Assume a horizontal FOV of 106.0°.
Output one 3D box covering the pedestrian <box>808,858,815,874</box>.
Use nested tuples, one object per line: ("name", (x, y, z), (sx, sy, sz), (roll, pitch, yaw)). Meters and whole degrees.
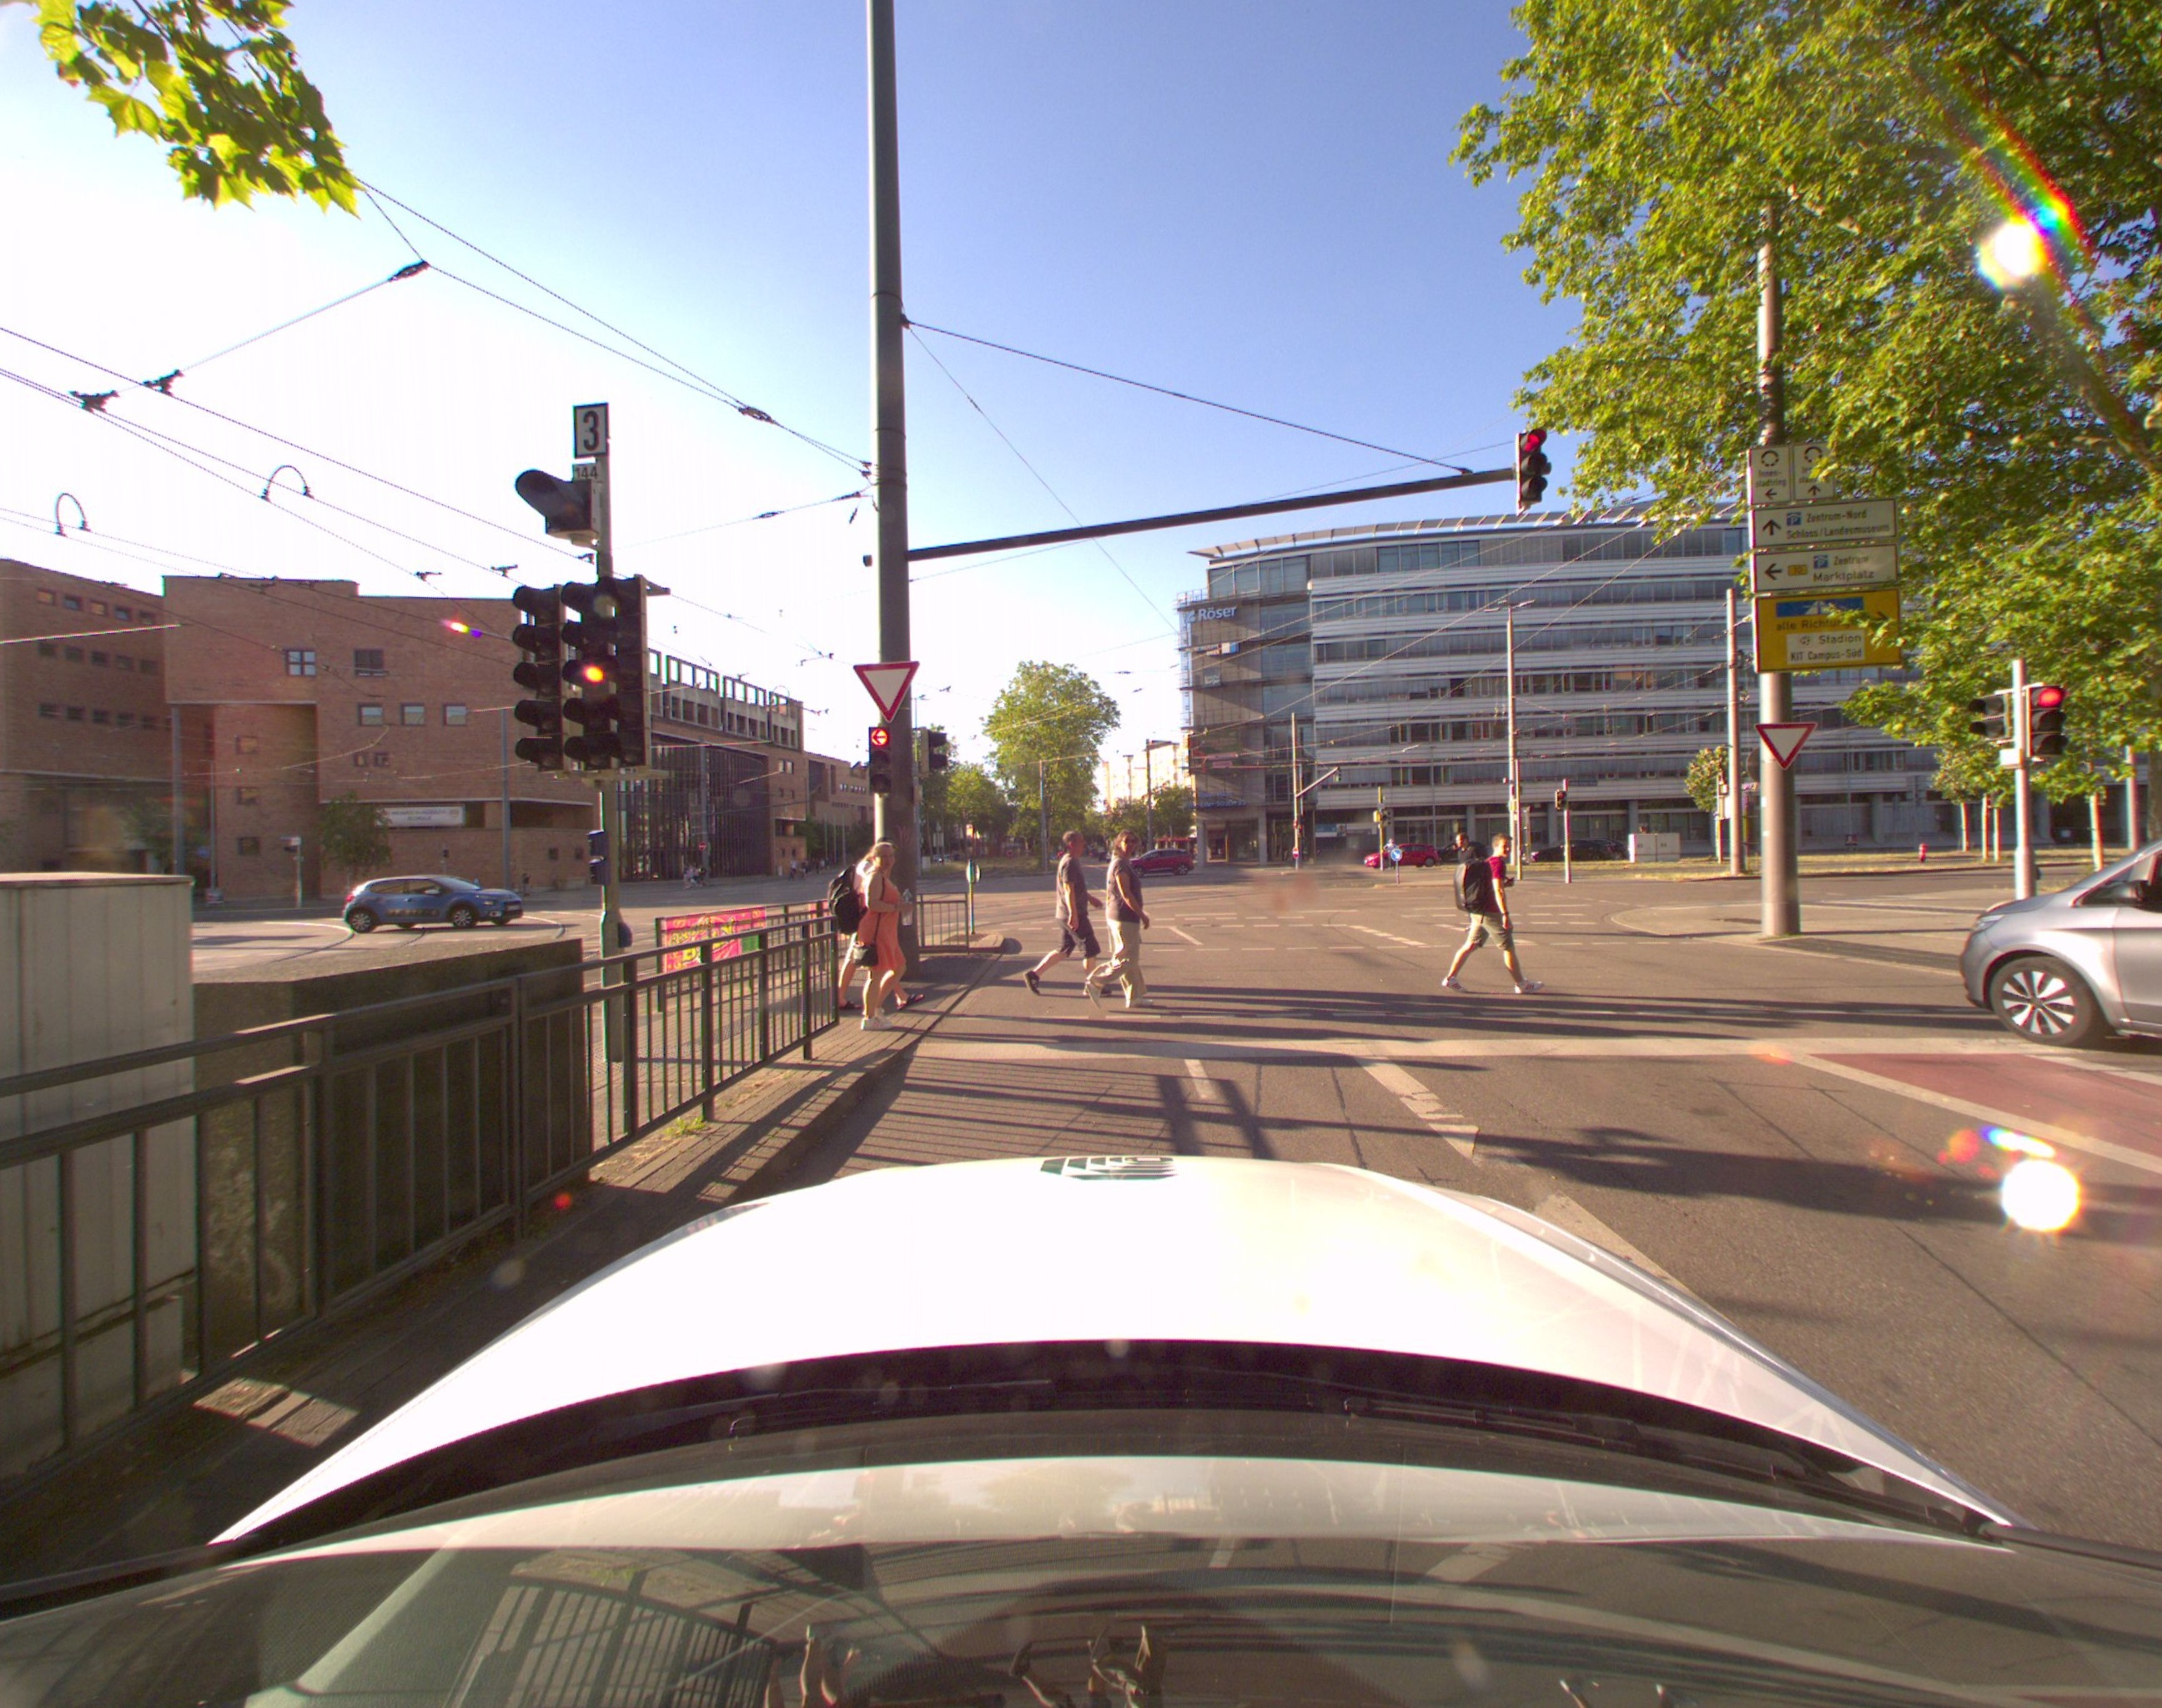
("pedestrian", (-30.842, 1.361, 93.306), (0.487, 1.810, 0.547), (-2, 0, 9))

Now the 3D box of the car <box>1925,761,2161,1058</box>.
("car", (8.123, 0.369, 4.380), (1.986, 1.966, 5.140), (0, 0, 2))

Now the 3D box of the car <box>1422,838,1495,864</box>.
("car", (24.310, -0.180, 52.570), (3.844, 1.507, 1.797), (-2, 0, 3))

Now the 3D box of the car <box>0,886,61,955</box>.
("car", (-27.705, 1.660, 19.339), (4.469, 1.583, 1.824), (-2, 0, -2))

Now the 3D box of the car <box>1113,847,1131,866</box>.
("car", (4.622, 0.268, 92.357), (1.986, 1.991, 4.002), (-2, 0, 2))

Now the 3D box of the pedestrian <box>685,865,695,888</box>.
("pedestrian", (-29.171, 1.660, 60.755), (0.538, 1.650, 0.622), (-2, 0, -17))

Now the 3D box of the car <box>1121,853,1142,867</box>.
("car", (5.295, 0.639, 85.533), (1.986, 1.332, 4.002), (-2, 0, 2))

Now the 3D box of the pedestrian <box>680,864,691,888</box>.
("pedestrian", (-28.764, 1.597, 59.207), (0.538, 1.650, 0.622), (-2, 0, -17))

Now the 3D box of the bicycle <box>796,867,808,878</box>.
("bicycle", (-23.662, 1.593, 69.077), (0.512, 0.881, 1.835), (-2, 0, -6))

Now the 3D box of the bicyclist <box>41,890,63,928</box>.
("bicyclist", (-56.910, 3.016, 45.057), (0.559, 2.059, 0.451), (-2, 0, -3))

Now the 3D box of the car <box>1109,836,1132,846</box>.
("car", (6.932, -2.300, 144.032), (3.732, 1.750, 1.789), (0, 0, 16))

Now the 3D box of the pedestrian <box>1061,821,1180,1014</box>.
("pedestrian", (0.374, 0.598, 8.101), (1.070, 1.806, 0.756), (-1, 0, -6))

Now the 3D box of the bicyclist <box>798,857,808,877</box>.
("bicyclist", (-23.572, 1.079, 69.134), (0.592, 1.675, 0.788), (-2, 0, -5))

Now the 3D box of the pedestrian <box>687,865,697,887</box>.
("pedestrian", (-29.339, 1.678, 61.464), (0.538, 1.650, 0.622), (-2, 0, -17))

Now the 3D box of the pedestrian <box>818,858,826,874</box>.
("pedestrian", (-29.647, 1.355, 93.075), (0.637, 1.810, 0.547), (-2, 0, 8))

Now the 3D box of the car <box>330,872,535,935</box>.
("car", (-17.764, 1.319, 22.493), (3.943, 1.456, 1.999), (-2, 0, -2))

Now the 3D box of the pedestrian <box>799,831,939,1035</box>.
("pedestrian", (-1.834, 0.658, 7.190), (1.071, 1.681, 0.756), (-1, 0, -6))

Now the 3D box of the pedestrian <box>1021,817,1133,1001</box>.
("pedestrian", (-0.065, 0.566, 8.909), (1.143, 1.893, 0.831), (-1, 0, -6))

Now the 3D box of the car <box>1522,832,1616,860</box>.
("car", (27.597, -0.441, 46.175), (4.219, 1.392, 1.799), (-2, 0, 6))

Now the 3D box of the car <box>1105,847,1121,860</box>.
("car", (4.230, -0.037, 107.690), (1.986, 1.662, 4.002), (-2, 0, 2))

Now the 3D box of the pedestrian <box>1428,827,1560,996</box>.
("pedestrian", (4.388, 0.589, 8.699), (1.070, 1.715, 0.628), (-1, 0, -2))

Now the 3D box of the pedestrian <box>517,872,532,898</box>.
("pedestrian", (-35.303, 1.935, 51.655), (0.538, 1.613, 0.575), (-2, 0, 33))

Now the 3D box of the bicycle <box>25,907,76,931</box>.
("bicycle", (-56.994, 3.590, 45.049), (2.085, 1.239, 0.453), (-2, 0, -3))

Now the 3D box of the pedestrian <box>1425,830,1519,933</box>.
("pedestrian", (7.135, 0.481, 14.913), (1.206, 1.822, 1.040), (0, 0, -4))

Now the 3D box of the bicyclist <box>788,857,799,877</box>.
("bicyclist", (-24.339, 1.081, 68.895), (0.592, 1.675, 0.788), (-2, 0, -5))

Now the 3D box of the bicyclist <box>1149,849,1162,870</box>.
("bicyclist", (5.096, 0.386, 55.790), (0.817, 1.366, 0.400), (-2, 0, -3))

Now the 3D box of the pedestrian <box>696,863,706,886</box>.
("pedestrian", (-28.054, 1.498, 60.184), (0.538, 1.650, 0.622), (-2, 0, -16))

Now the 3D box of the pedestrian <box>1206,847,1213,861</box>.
("pedestrian", (13.873, -0.023, 87.799), (0.734, 1.465, 0.538), (-2, 0, 11))

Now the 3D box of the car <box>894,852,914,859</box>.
("car", (-38.379, 0.256, 176.854), (4.011, 1.552, 1.592), (0, 0, -30))

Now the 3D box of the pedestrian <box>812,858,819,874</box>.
("pedestrian", (-29.905, 1.372, 91.829), (0.519, 1.779, 0.547), (-2, 0, 8))

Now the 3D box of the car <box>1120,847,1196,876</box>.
("car", (4.620, 0.435, 49.089), (4.237, 1.602, 1.791), (-2, 0, -7))

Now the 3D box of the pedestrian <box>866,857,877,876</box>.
("pedestrian", (-16.794, 0.974, 65.374), (0.753, 1.530, 0.507), (-1, 0, -6))

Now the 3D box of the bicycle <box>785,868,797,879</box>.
("bicycle", (-24.483, 1.644, 68.789), (0.512, 0.881, 1.835), (-2, 0, -6))

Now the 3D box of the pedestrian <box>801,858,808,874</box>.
("pedestrian", (-31.607, 1.367, 93.138), (0.487, 1.810, 0.547), (-2, 0, 9))

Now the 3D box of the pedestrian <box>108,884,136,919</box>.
("pedestrian", (-45.780, 2.262, 38.885), (0.542, 1.613, 0.613), (0, 1, -3))

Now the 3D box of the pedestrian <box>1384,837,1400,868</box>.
("pedestrian", (17.180, -0.087, 44.931), (0.715, 1.681, 0.558), (-1, 0, 9))

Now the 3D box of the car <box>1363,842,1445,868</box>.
("car", (19.497, 0.031, 49.291), (4.225, 1.392, 1.796), (-2, 0, 1))

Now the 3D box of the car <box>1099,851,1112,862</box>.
("car", (3.939, 0.313, 129.427), (1.986, 1.662, 4.002), (-2, 0, 2))

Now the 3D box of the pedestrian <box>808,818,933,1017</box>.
("pedestrian", (-2.058, 0.596, 8.090), (1.072, 1.871, 0.737), (-1, 0, -6))

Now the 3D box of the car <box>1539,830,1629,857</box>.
("car", (30.053, -0.603, 48.758), (4.216, 1.434, 1.800), (-2, 0, 8))
